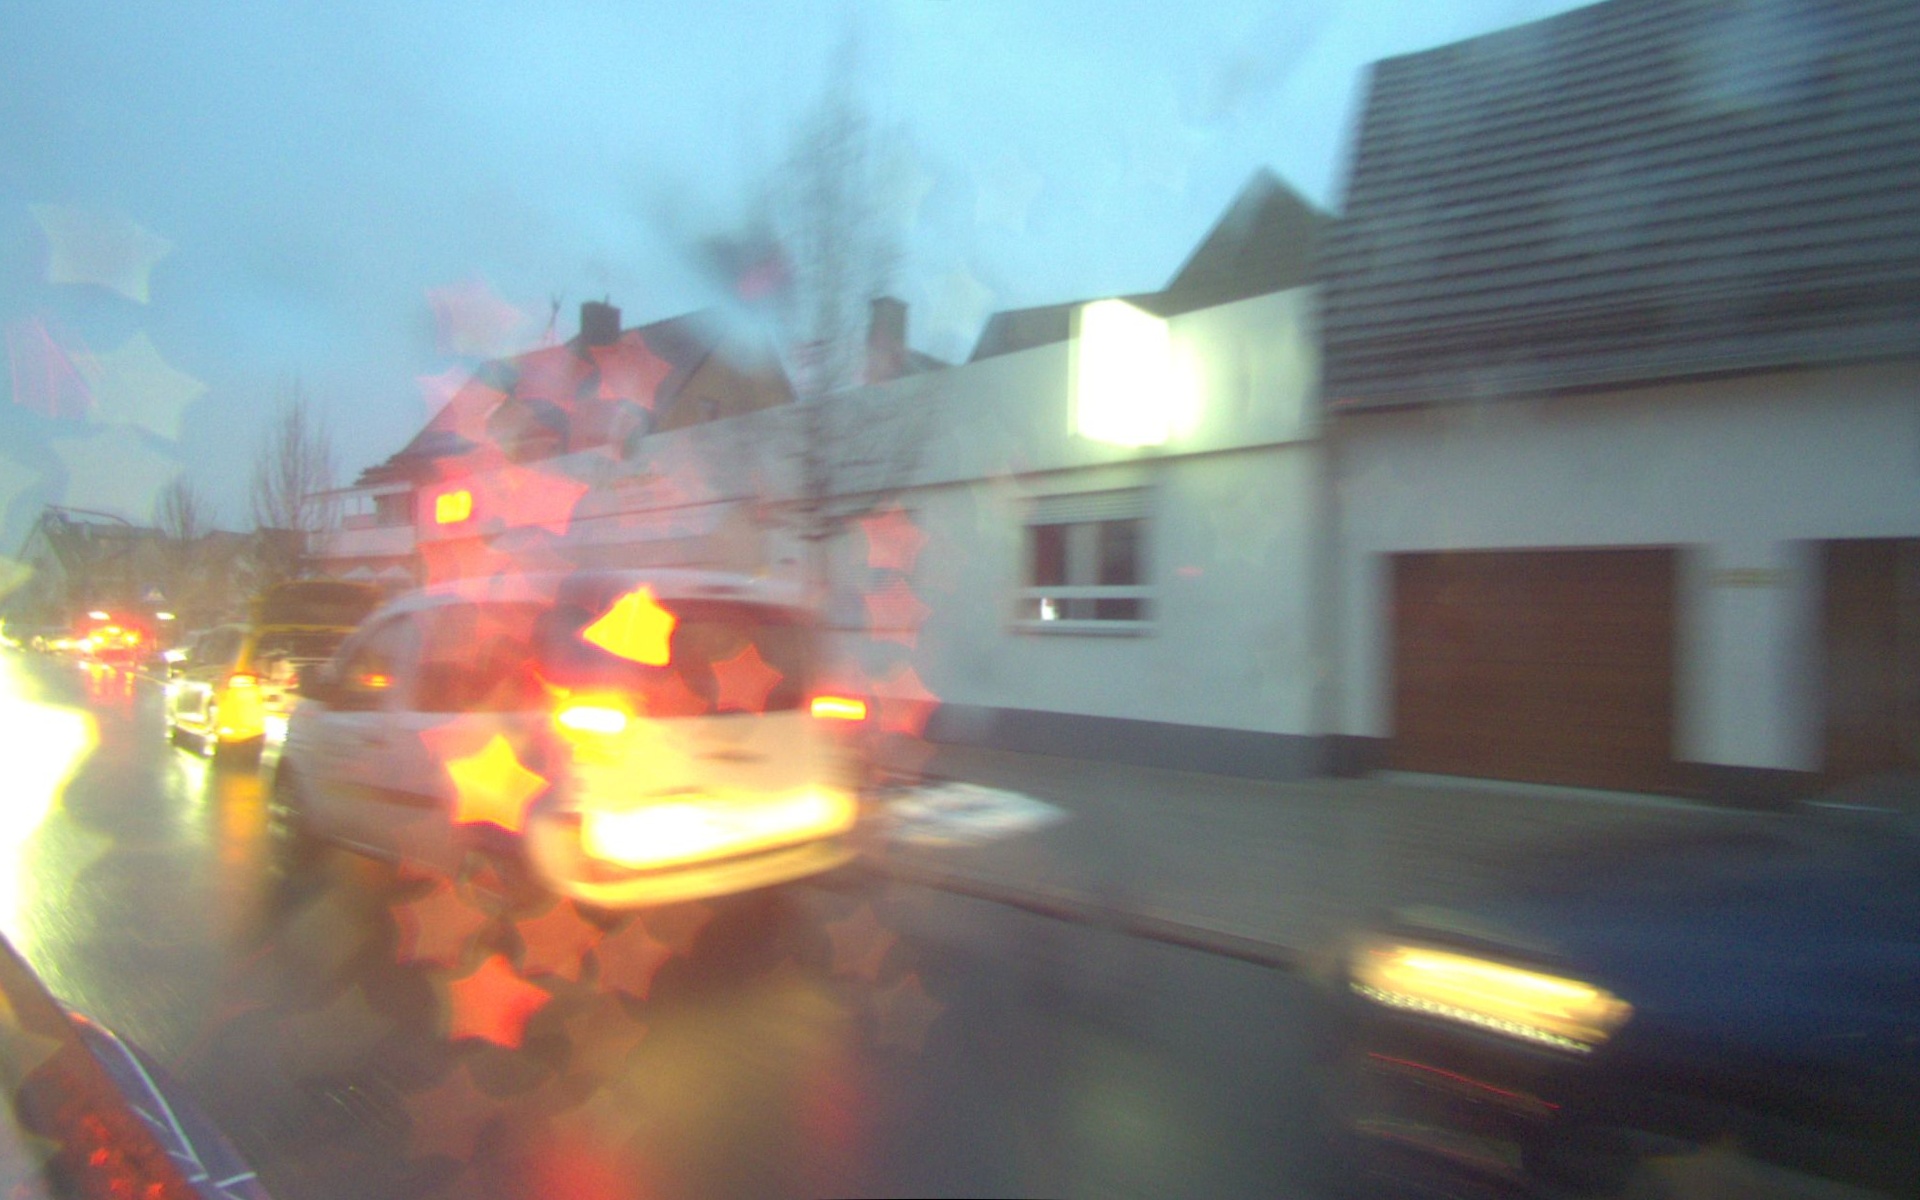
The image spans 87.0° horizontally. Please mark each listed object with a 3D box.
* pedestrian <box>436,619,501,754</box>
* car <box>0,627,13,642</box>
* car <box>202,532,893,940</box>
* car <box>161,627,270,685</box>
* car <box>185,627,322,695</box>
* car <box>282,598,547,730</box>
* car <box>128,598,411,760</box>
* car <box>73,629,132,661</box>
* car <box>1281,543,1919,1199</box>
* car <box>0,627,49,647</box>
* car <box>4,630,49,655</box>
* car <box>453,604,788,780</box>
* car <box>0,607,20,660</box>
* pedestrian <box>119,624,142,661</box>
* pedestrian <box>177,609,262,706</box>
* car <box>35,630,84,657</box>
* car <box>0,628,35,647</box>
[{"bbox_3d":[-5.985,1.036,12.326,0.576,1.597,0.522,-3,-3,42],"label":"pedestrian"},{"bbox_3d":[-84.886,2.998,87.853,3.940,1.309,2.002,0,-1,-43],"label":"car"},{"bbox_3d":[-2.675,0.699,6.043,4.410,1.559,1.932,-5,-6,39],"label":"car"},{"bbox_3d":[-22.657,1.629,30.718,4.622,1.570,1.971,-2,-1,45],"label":"car"},{"bbox_3d":[-18.084,1.476,25.806,4.979,1.534,1.971,-1,-2,44],"label":"car"},{"bbox_3d":[-8.909,0.950,16.331,5.019,1.806,2.065,-2,-2,40],"label":"car"},{"bbox_3d":[-9.261,0.962,13.374,4.965,1.718,1.972,-3,-1,42],"label":"car"},{"bbox_3d":[-43.791,2.258,51.679,4.181,1.500,1.765,-1,-1,42],"label":"car"},{"bbox_3d":[2.931,0.718,1.625,4.252,1.567,1.839,-1,-3,39],"label":"car"},{"bbox_3d":[-79.530,3.105,85.452,3.784,1.557,2.003,0,-1,-41],"label":"car"},{"bbox_3d":[-62.210,2.815,67.411,4.137,1.546,1.816,-1,-1,42],"label":"car"},{"bbox_3d":[-4.263,0.945,12.236,4.713,1.723,1.860,-1,-1,44],"label":"car"},{"bbox_3d":[-38.731,1.329,39.990,3.998,2.029,1.973,-1,-1,41],"label":"car"},{"bbox_3d":[-46.524,2.367,56.754,0.890,2.029,0.791,1,-3,-44],"label":"pedestrian"},{"bbox_3d":[-14.846,1.140,20.312,0.999,1.890,0.942,0,-2,4],"label":"pedestrian"},{"bbox_3d":[-52.438,2.520,58.919,4.376,1.442,1.676,-2,-1,42],"label":"car"},{"bbox_3d":[-81.998,3.190,86.652,3.936,1.559,2.004,0,-1,-38],"label":"car"}]
